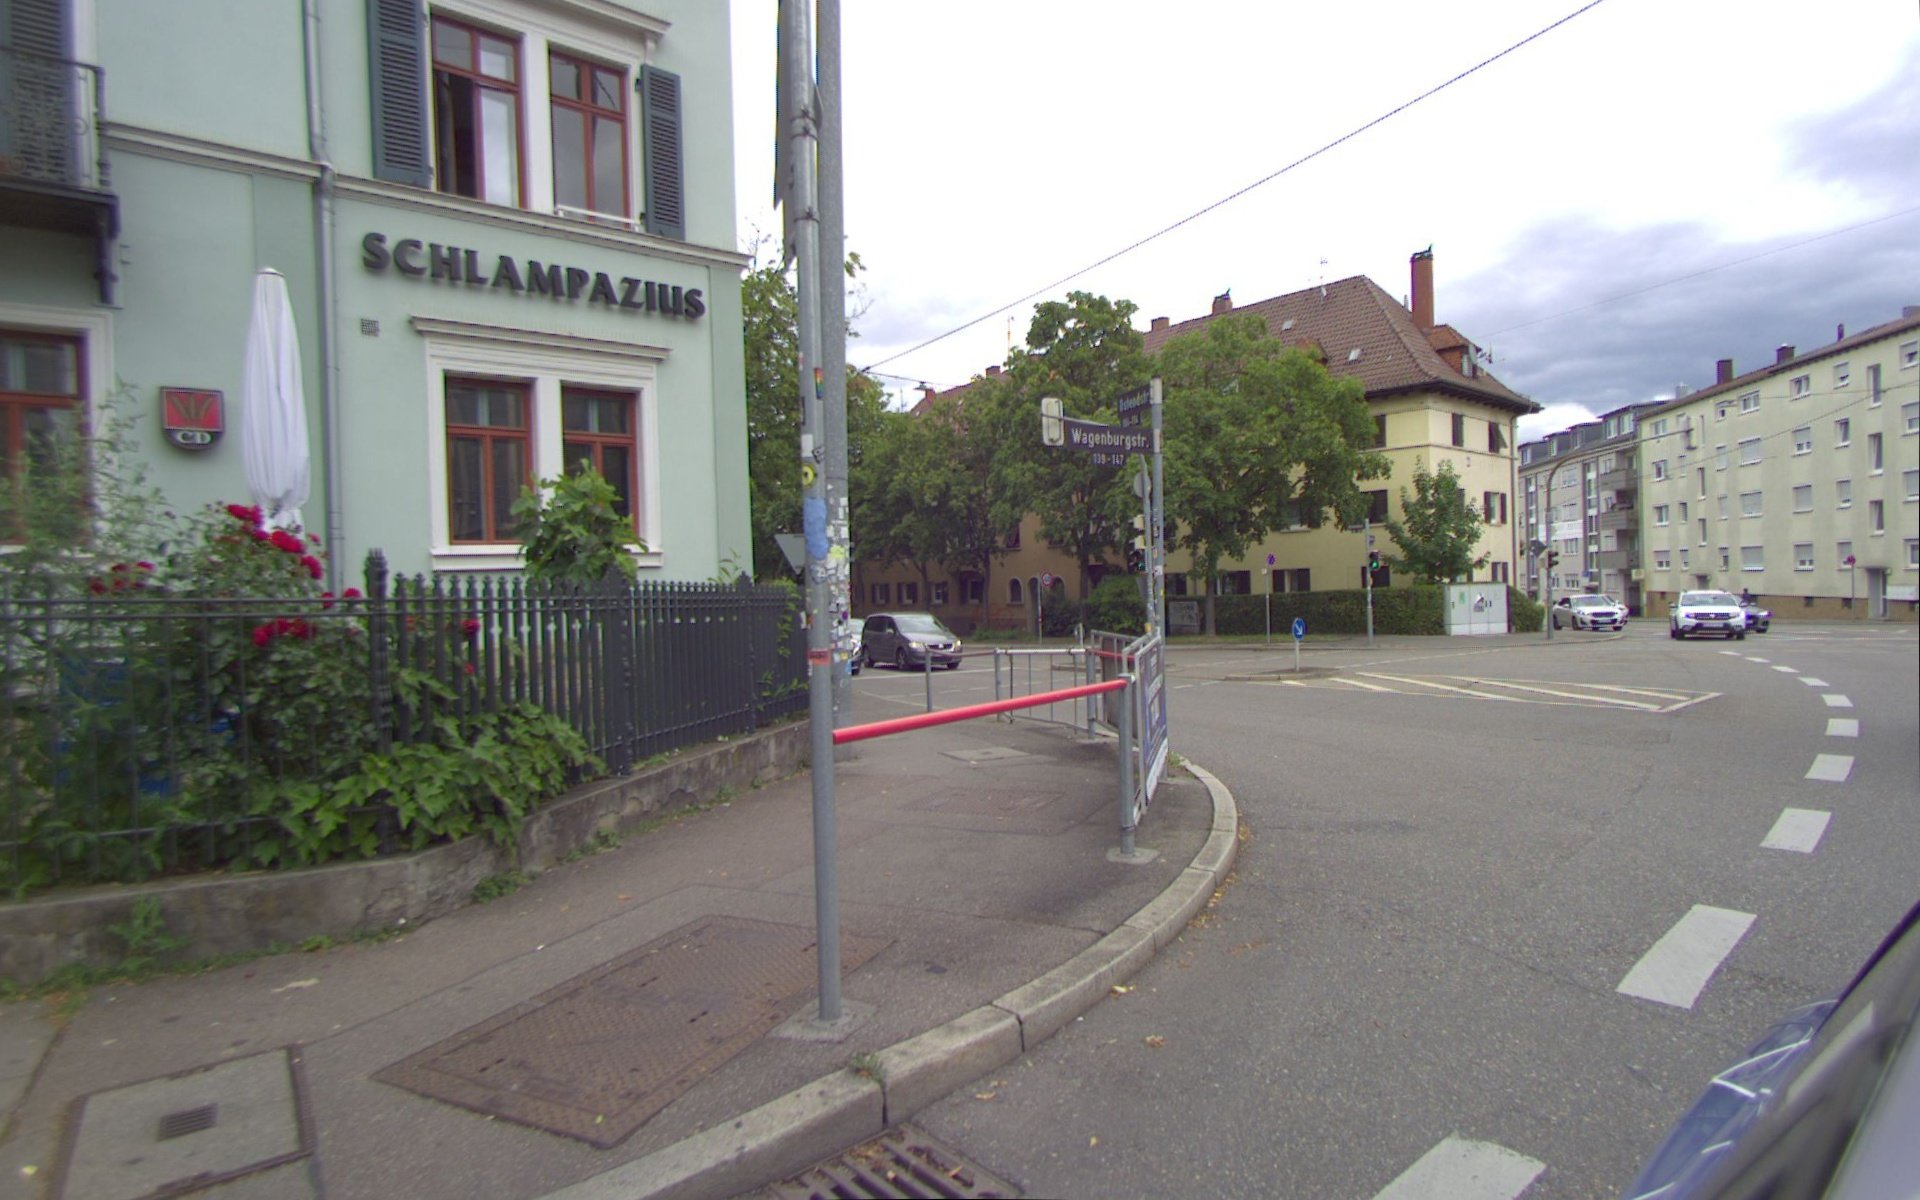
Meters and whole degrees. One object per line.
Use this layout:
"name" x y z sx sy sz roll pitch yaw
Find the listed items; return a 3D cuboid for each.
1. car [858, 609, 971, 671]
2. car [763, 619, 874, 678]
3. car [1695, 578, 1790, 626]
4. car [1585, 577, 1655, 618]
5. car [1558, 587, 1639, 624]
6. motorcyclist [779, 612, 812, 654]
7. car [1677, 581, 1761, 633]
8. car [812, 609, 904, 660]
"car" -1.397 1.098 29.283 1.759 1.591 4.057 -2 0 -26
"car" -4.025 1.296 28.229 1.845 1.405 4.035 -2 0 -26
"car" 27.344 0.100 35.503 2.021 1.570 3.994 -1 -1 29
"car" 34.794 -0.150 53.439 1.973 2.039 4.245 -2 0 18
"car" 28.261 0.271 44.937 1.926 1.570 4.015 -1 -1 16
"motorcyclist" -6.455 1.291 39.724 0.952 1.591 1.091 -2 0 -26
"car" 23.510 0.242 31.302 1.900 1.498 3.831 -1 -1 39
"car" -3.606 1.148 35.083 1.845 1.591 4.057 -2 0 -26
